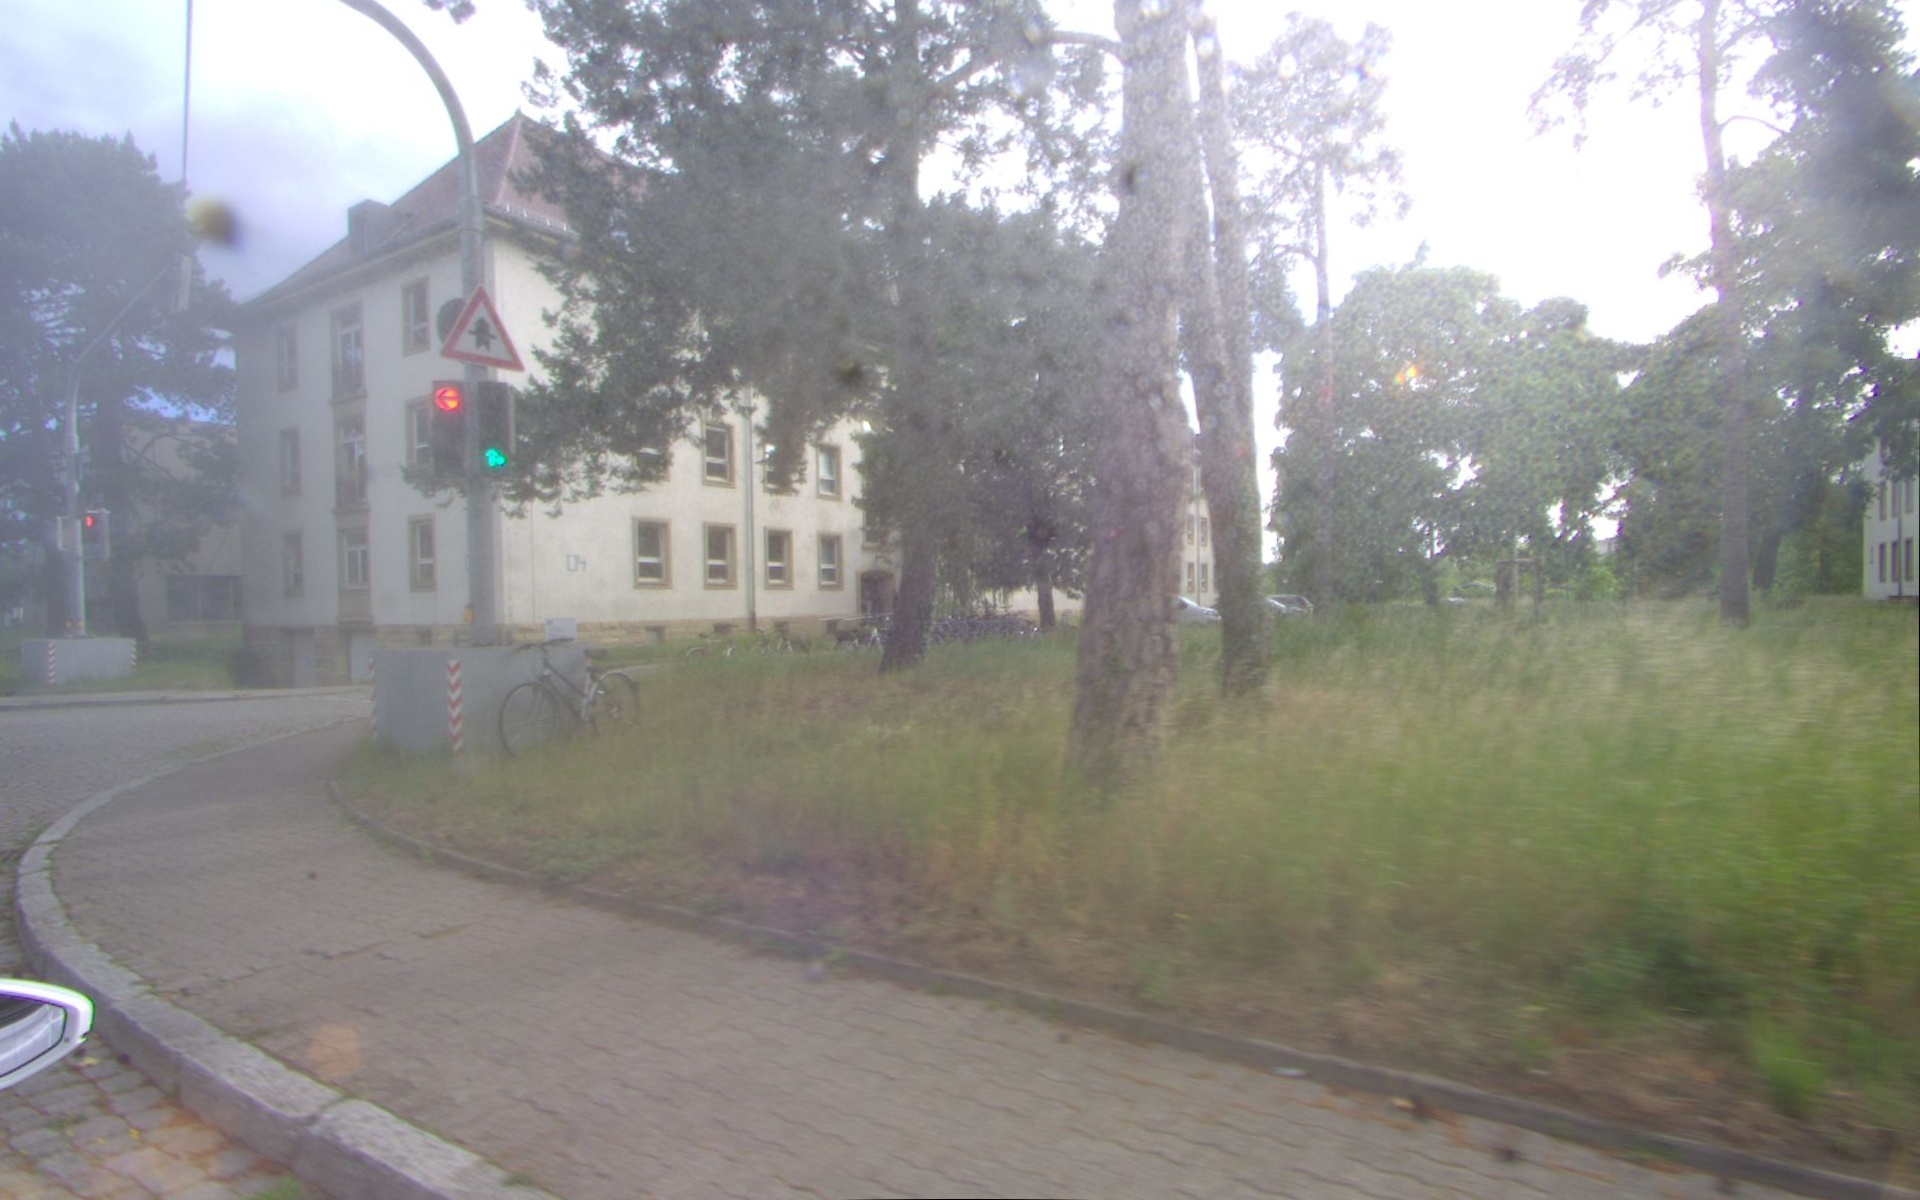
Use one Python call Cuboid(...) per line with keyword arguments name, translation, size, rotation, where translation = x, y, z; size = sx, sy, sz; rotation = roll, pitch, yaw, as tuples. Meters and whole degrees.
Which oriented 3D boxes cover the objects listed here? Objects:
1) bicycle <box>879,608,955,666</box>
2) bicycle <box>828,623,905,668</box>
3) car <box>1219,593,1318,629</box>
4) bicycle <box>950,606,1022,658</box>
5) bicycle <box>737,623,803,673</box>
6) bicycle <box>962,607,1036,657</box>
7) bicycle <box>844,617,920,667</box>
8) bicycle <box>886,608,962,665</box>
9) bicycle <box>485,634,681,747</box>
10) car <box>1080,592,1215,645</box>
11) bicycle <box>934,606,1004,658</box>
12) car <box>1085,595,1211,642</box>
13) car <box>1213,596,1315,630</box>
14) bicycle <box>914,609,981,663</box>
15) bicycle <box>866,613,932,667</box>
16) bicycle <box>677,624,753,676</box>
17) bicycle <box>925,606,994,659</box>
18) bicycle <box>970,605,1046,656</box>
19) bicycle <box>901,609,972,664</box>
Cuboid(name="bicycle", translation=(-1.048, 0.869, 24.010), size=(2.022, 1.337, 0.435), rotation=(-1, 0, 39))
Cuboid(name="bicycle", translation=(-2.135, 1.018, 22.653), size=(1.878, 0.962, 0.539), rotation=(-1, 0, 39))
Cuboid(name="car", translation=(16.153, 0.596, 52.546), size=(4.631, 1.796, 1.988), rotation=(-1, 0, 34))
Cuboid(name="bicycle", translation=(0.681, 0.851, 26.831), size=(1.990, 1.337, 0.538), rotation=(-1, 0, 39))
Cuboid(name="bicycle", translation=(-4.183, 1.044, 22.160), size=(0.535, 1.028, 1.533), rotation=(0, 0, 32))
Cuboid(name="bicycle", translation=(1.043, 0.859, 27.270), size=(2.106, 1.337, 0.552), rotation=(-1, 0, 39))
Cuboid(name="bicycle", translation=(-1.825, 0.959, 23.229), size=(1.878, 1.116, 0.539), rotation=(-1, 0, 39))
Cuboid(name="bicycle", translation=(-0.899, 0.883, 24.593), size=(1.951, 1.337, 0.574), rotation=(-1, 0, 39))
Cuboid(name="bicycle", translation=(-3.432, 0.789, 9.260), size=(0.565, 0.886, 1.696), rotation=(0, 0, 33))
Cuboid(name="car", translation=(7.154, 0.702, 38.060), size=(4.776, 1.935, 2.236), rotation=(-1, 0, 18))
Cuboid(name="bicycle", translation=(0.226, 0.840, 26.456), size=(1.914, 1.337, 0.551), rotation=(-1, 0, 39))
Cuboid(name="car", translation=(6.446, 0.624, 34.517), size=(3.879, 1.550, 1.851), rotation=(-1, 0, 35))
Cuboid(name="car", translation=(15.021, 0.654, 49.472), size=(4.454, 1.639, 1.988), rotation=(-1, 0, 34))
Cuboid(name="bicycle", translation=(-0.331, 0.900, 25.461), size=(1.894, 1.337, 0.390), rotation=(-1, 0, 39))
Cuboid(name="bicycle", translation=(-1.452, 0.924, 23.674), size=(1.618, 1.232, 0.539), rotation=(-1, 0, 39))
Cuboid(name="bicycle", translation=(-5.018, 1.004, 20.611), size=(0.523, 0.993, 1.617), rotation=(0, 0, 32))
Cuboid(name="bicycle", translation=(-0.019, 0.831, 25.889), size=(1.830, 1.337, 0.553), rotation=(-1, 0, 39))
Cuboid(name="bicycle", translation=(1.329, 0.828, 27.932), size=(2.076, 1.385, 0.754), rotation=(0, 0, 39))
Cuboid(name="bicycle", translation=(-0.598, 0.894, 25.099), size=(1.896, 1.337, 0.503), rotation=(-1, 0, 39))
